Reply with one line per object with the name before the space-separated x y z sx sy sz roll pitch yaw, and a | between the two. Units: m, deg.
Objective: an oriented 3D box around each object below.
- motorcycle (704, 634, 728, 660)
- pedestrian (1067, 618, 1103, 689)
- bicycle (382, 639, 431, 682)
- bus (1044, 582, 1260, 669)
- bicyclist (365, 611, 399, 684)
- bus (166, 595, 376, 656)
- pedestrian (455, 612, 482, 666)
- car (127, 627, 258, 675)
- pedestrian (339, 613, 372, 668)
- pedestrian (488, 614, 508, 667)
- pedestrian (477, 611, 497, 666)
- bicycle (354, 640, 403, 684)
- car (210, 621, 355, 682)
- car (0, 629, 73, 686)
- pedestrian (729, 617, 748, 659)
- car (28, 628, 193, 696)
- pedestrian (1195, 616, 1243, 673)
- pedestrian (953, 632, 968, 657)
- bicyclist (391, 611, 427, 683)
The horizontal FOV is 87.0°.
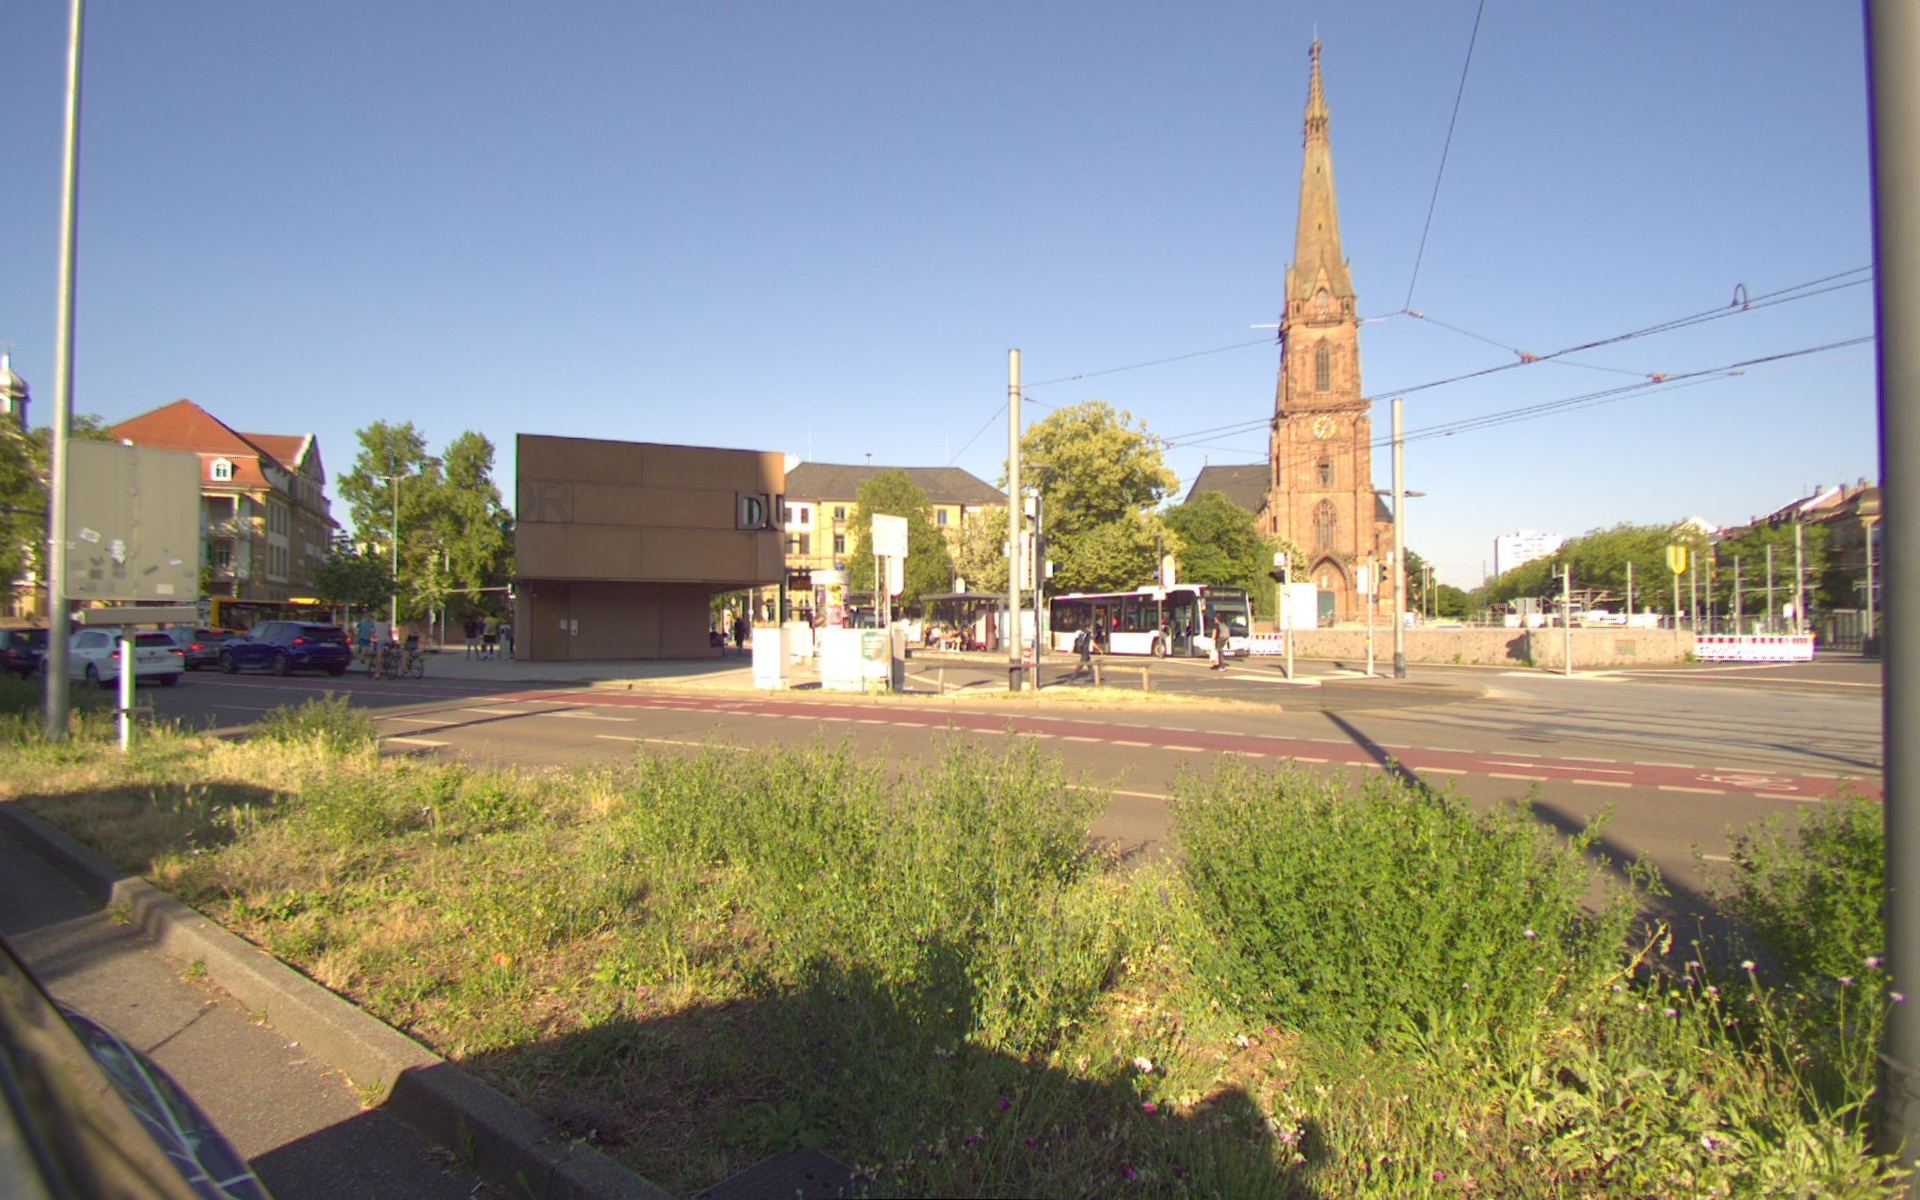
motorcycle | -10.126 1.956 42.066 0.935 1.075 0.331 -1 0 -11
pedestrian | 3.216 1.355 26.019 0.702 1.771 0.584 -1 0 -30
bicycle | -15.974 1.738 29.206 1.388 1.201 0.461 -1 0 24
bus | 7.685 0.967 43.355 2.655 3.174 12.216 -1 0 -23
bicyclist | -16.270 1.323 28.499 0.562 2.029 0.605 -1 -2 25
bus | -40.680 1.361 60.641 3.049 3.236 12.521 -1 0 6
pedestrian | -18.727 1.473 38.535 0.765 2.029 0.775 -1 0 -37
car | -25.192 1.656 33.194 4.375 1.503 1.831 -1 -4 30
pedestrian | -20.913 1.398 35.041 0.787 1.911 0.612 0 -2 -9
pedestrian | -18.074 1.579 39.607 0.645 2.029 0.470 -1 0 -29
pedestrian | -17.740 1.419 37.944 0.645 2.029 0.470 -1 0 -29
bicycle | -16.448 1.745 28.599 1.388 1.201 0.461 -1 0 24
car | -20.154 1.483 30.087 4.166 1.703 1.741 -1 -1 26
car | -26.911 1.573 28.509 4.174 1.471 1.738 -1 0 32
pedestrian | -10.794 1.856 49.364 0.762 2.029 0.778 -1 0 -2
car | -21.416 1.498 25.492 4.375 1.503 1.831 -1 0 30
pedestrian | 7.988 1.360 31.233 1.025 1.696 1.007 -1 0 -25
pedestrian | 0.042 2.192 49.910 0.531 1.196 0.660 -1 0 -21
bicyclist | -15.863 1.340 29.145 0.705 2.029 0.605 -1 -2 25
